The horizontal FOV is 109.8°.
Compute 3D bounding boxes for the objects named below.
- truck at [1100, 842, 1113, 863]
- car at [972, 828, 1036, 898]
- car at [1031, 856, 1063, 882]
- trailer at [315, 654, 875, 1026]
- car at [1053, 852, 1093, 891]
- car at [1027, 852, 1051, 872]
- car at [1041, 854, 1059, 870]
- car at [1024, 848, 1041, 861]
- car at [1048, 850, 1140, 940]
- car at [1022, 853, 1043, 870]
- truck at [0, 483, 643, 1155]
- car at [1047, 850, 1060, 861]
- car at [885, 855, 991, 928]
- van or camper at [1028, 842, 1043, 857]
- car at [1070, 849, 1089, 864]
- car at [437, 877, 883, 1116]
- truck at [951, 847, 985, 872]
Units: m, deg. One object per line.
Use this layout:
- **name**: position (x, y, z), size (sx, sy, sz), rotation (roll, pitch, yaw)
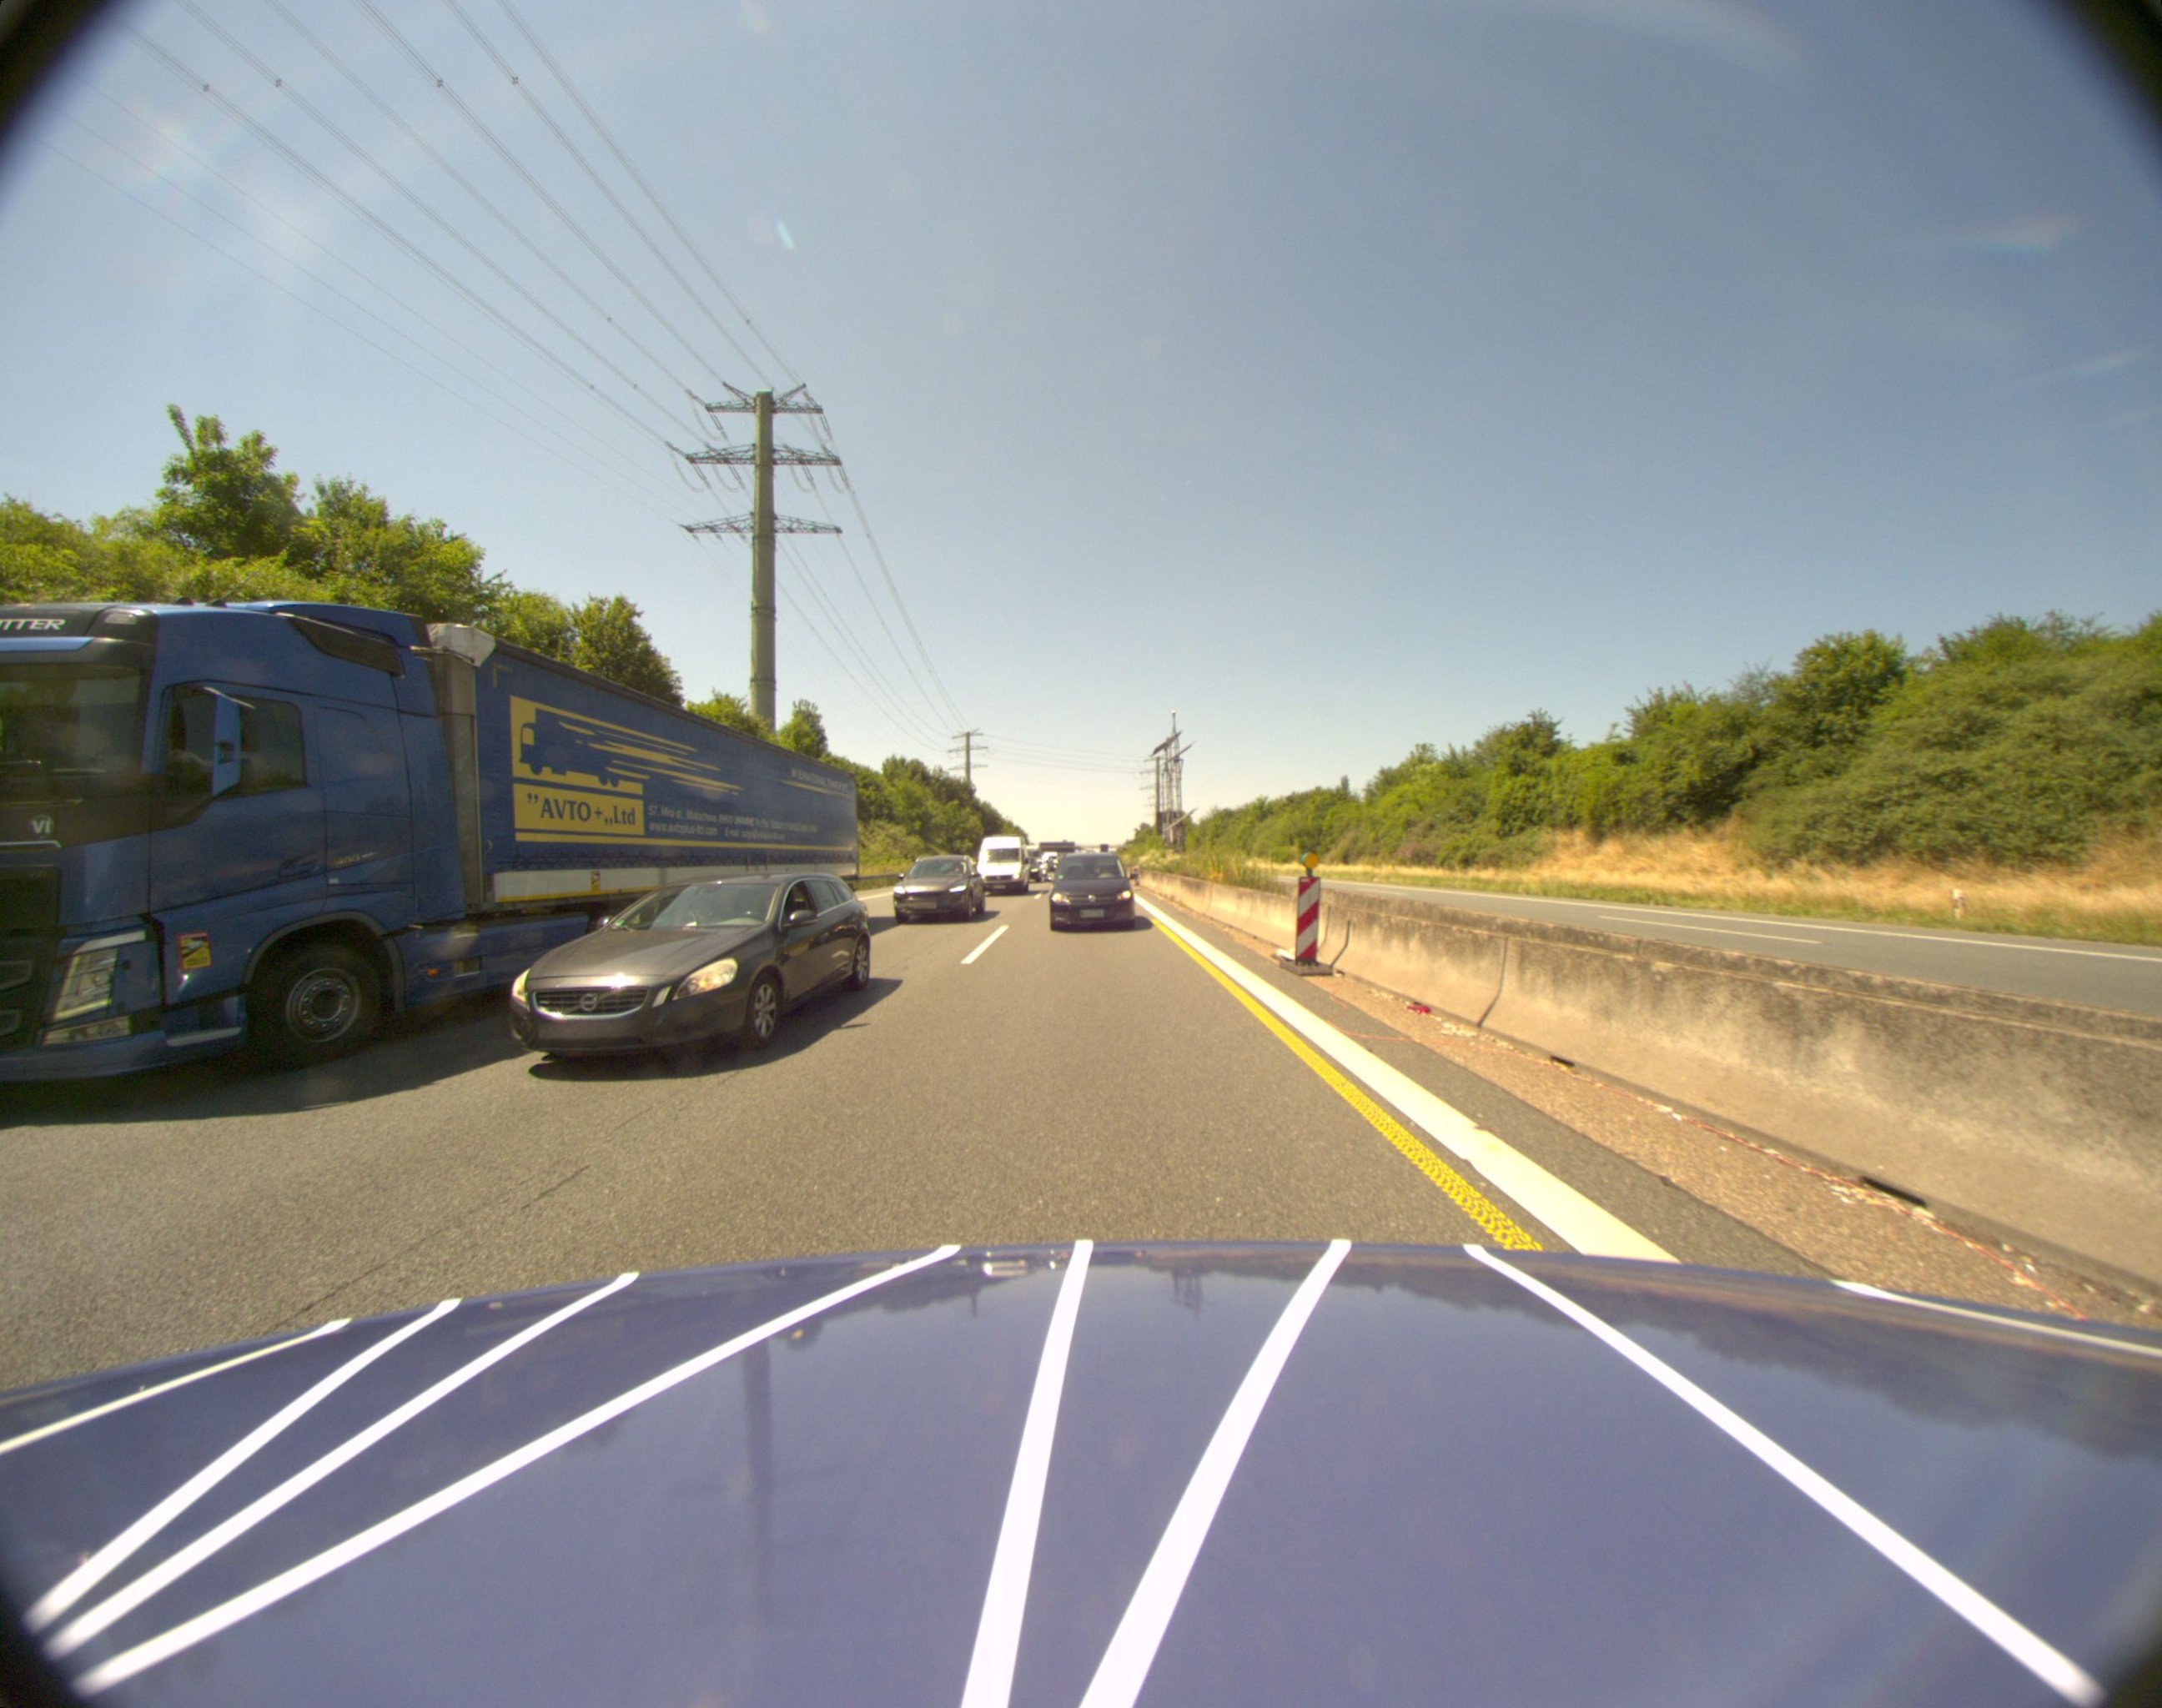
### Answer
- **truck**: position (3.977, -0.275, 120.545), size (1.892, 3.263, 5.590), rotation (-2, 1, 1)
- **car**: position (-3.298, 0.335, 33.857), size (2.042, 2.703, 6.705), rotation (-2, 1, 0)
- **car**: position (-2.123, 0.913, 48.236), size (1.720, 1.510, 3.874), rotation (-2, 1, 1)
- **trailer**: position (-7.414, -0.201, 15.315), size (2.774, 4.239, 12.877), rotation (-2, 1, 0)
- **car**: position (-0.339, 0.764, 35.425), size (1.700, 1.641, 4.219), rotation (-2, 1, 0)
- **car**: position (-3.513, 0.655, 64.600), size (1.720, 1.510, 3.873), rotation (-2, 1, 0)
- **car**: position (-3.314, 0.837, 81.621), size (1.720, 1.510, 3.874), rotation (-2, 1, 1)
- **car**: position (-6.199, 0.054, 97.512), size (1.720, 1.510, 3.874), rotation (-2, 1, 1)
- **car**: position (0.259, 0.781, 16.601), size (1.700, 1.641, 4.219), rotation (-2, 1, 0)
- **car**: position (-4.794, 0.749, 76.087), size (1.720, 1.510, 3.874), rotation (-2, 1, 1)
- **truck**: position (-7.473, -0.177, 7.513), size (2.792, 4.120, 5.636), rotation (-2, 1, 0)
- **car**: position (-3.924, 0.253, 109.218), size (1.720, 1.510, 3.874), rotation (-2, 1, 1)
- **car**: position (-3.620, 0.883, 19.998), size (1.893, 1.602, 4.219), rotation (-2, 1, 0)
- **van or camper**: position (-7.697, -0.761, 128.849), size (1.978, 2.511, 4.369), rotation (-2, 1, 1)
- **car**: position (-0.150, 0.278, 88.290), size (1.973, 1.682, 3.874), rotation (-2, 1, 1)
- **car**: position (-3.478, 1.047, 7.474), size (1.799, 1.411, 4.509), rotation (-2, 0, 0)
- **truck**: position (-10.574, 0.491, 71.485), size (2.253, 2.155, 5.728), rotation (-2, 1, 0)
